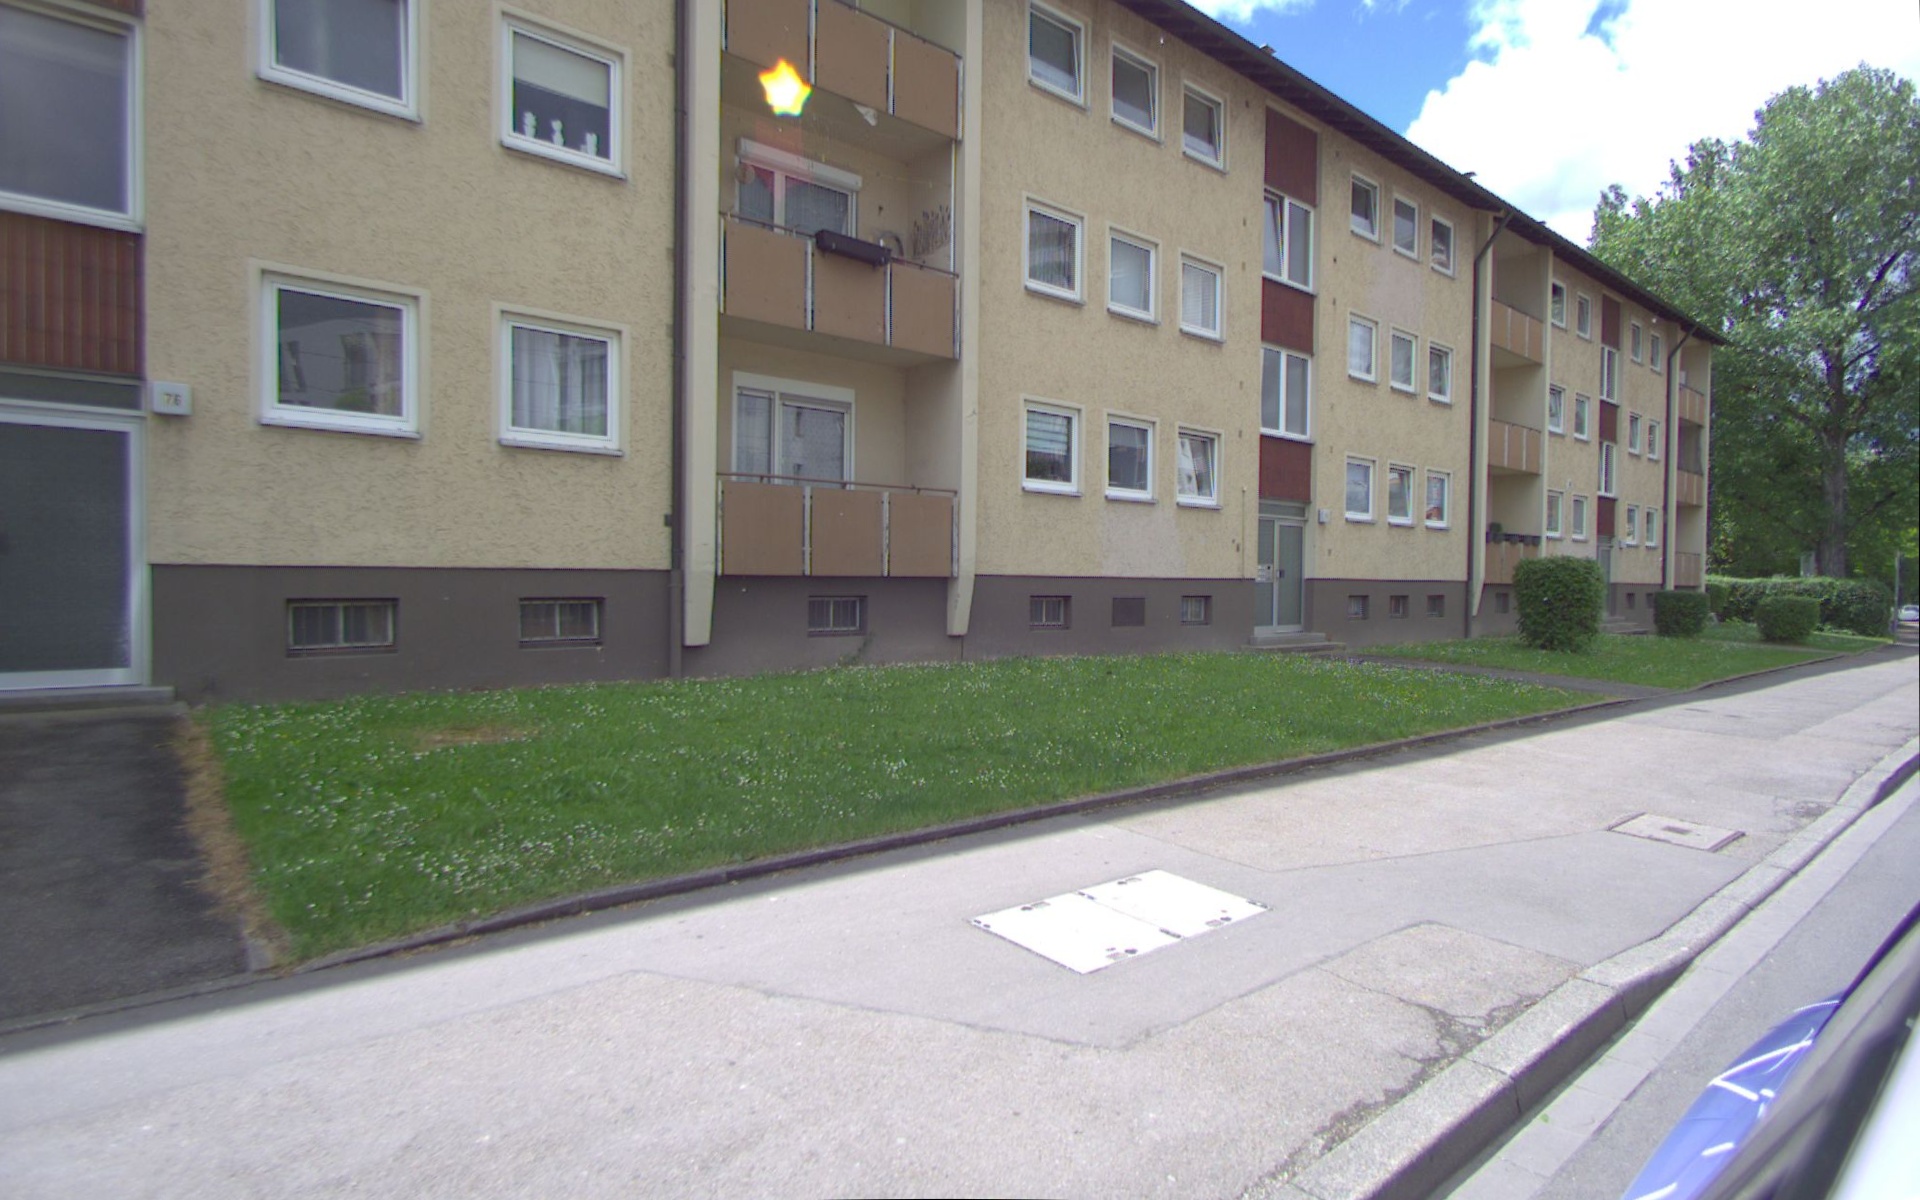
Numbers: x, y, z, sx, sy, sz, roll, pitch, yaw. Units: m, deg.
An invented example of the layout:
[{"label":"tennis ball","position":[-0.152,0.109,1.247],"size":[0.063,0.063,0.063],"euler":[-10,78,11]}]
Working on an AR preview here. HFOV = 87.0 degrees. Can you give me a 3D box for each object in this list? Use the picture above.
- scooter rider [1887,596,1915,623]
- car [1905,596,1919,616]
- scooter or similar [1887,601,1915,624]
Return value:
[{"label":"scooter rider","position":[46.079,0.460,49.547],"size":[1.260,1.235,0.886],"euler":[2,1,-44]},{"label":"car","position":[83.854,0.549,88.229],"size":[3.543,1.714,1.801],"euler":[1,2,-42]},{"label":"scooter or similar","position":[46.067,0.616,49.536],"size":[2.079,1.078,0.891],"euler":[2,1,-44]}]
